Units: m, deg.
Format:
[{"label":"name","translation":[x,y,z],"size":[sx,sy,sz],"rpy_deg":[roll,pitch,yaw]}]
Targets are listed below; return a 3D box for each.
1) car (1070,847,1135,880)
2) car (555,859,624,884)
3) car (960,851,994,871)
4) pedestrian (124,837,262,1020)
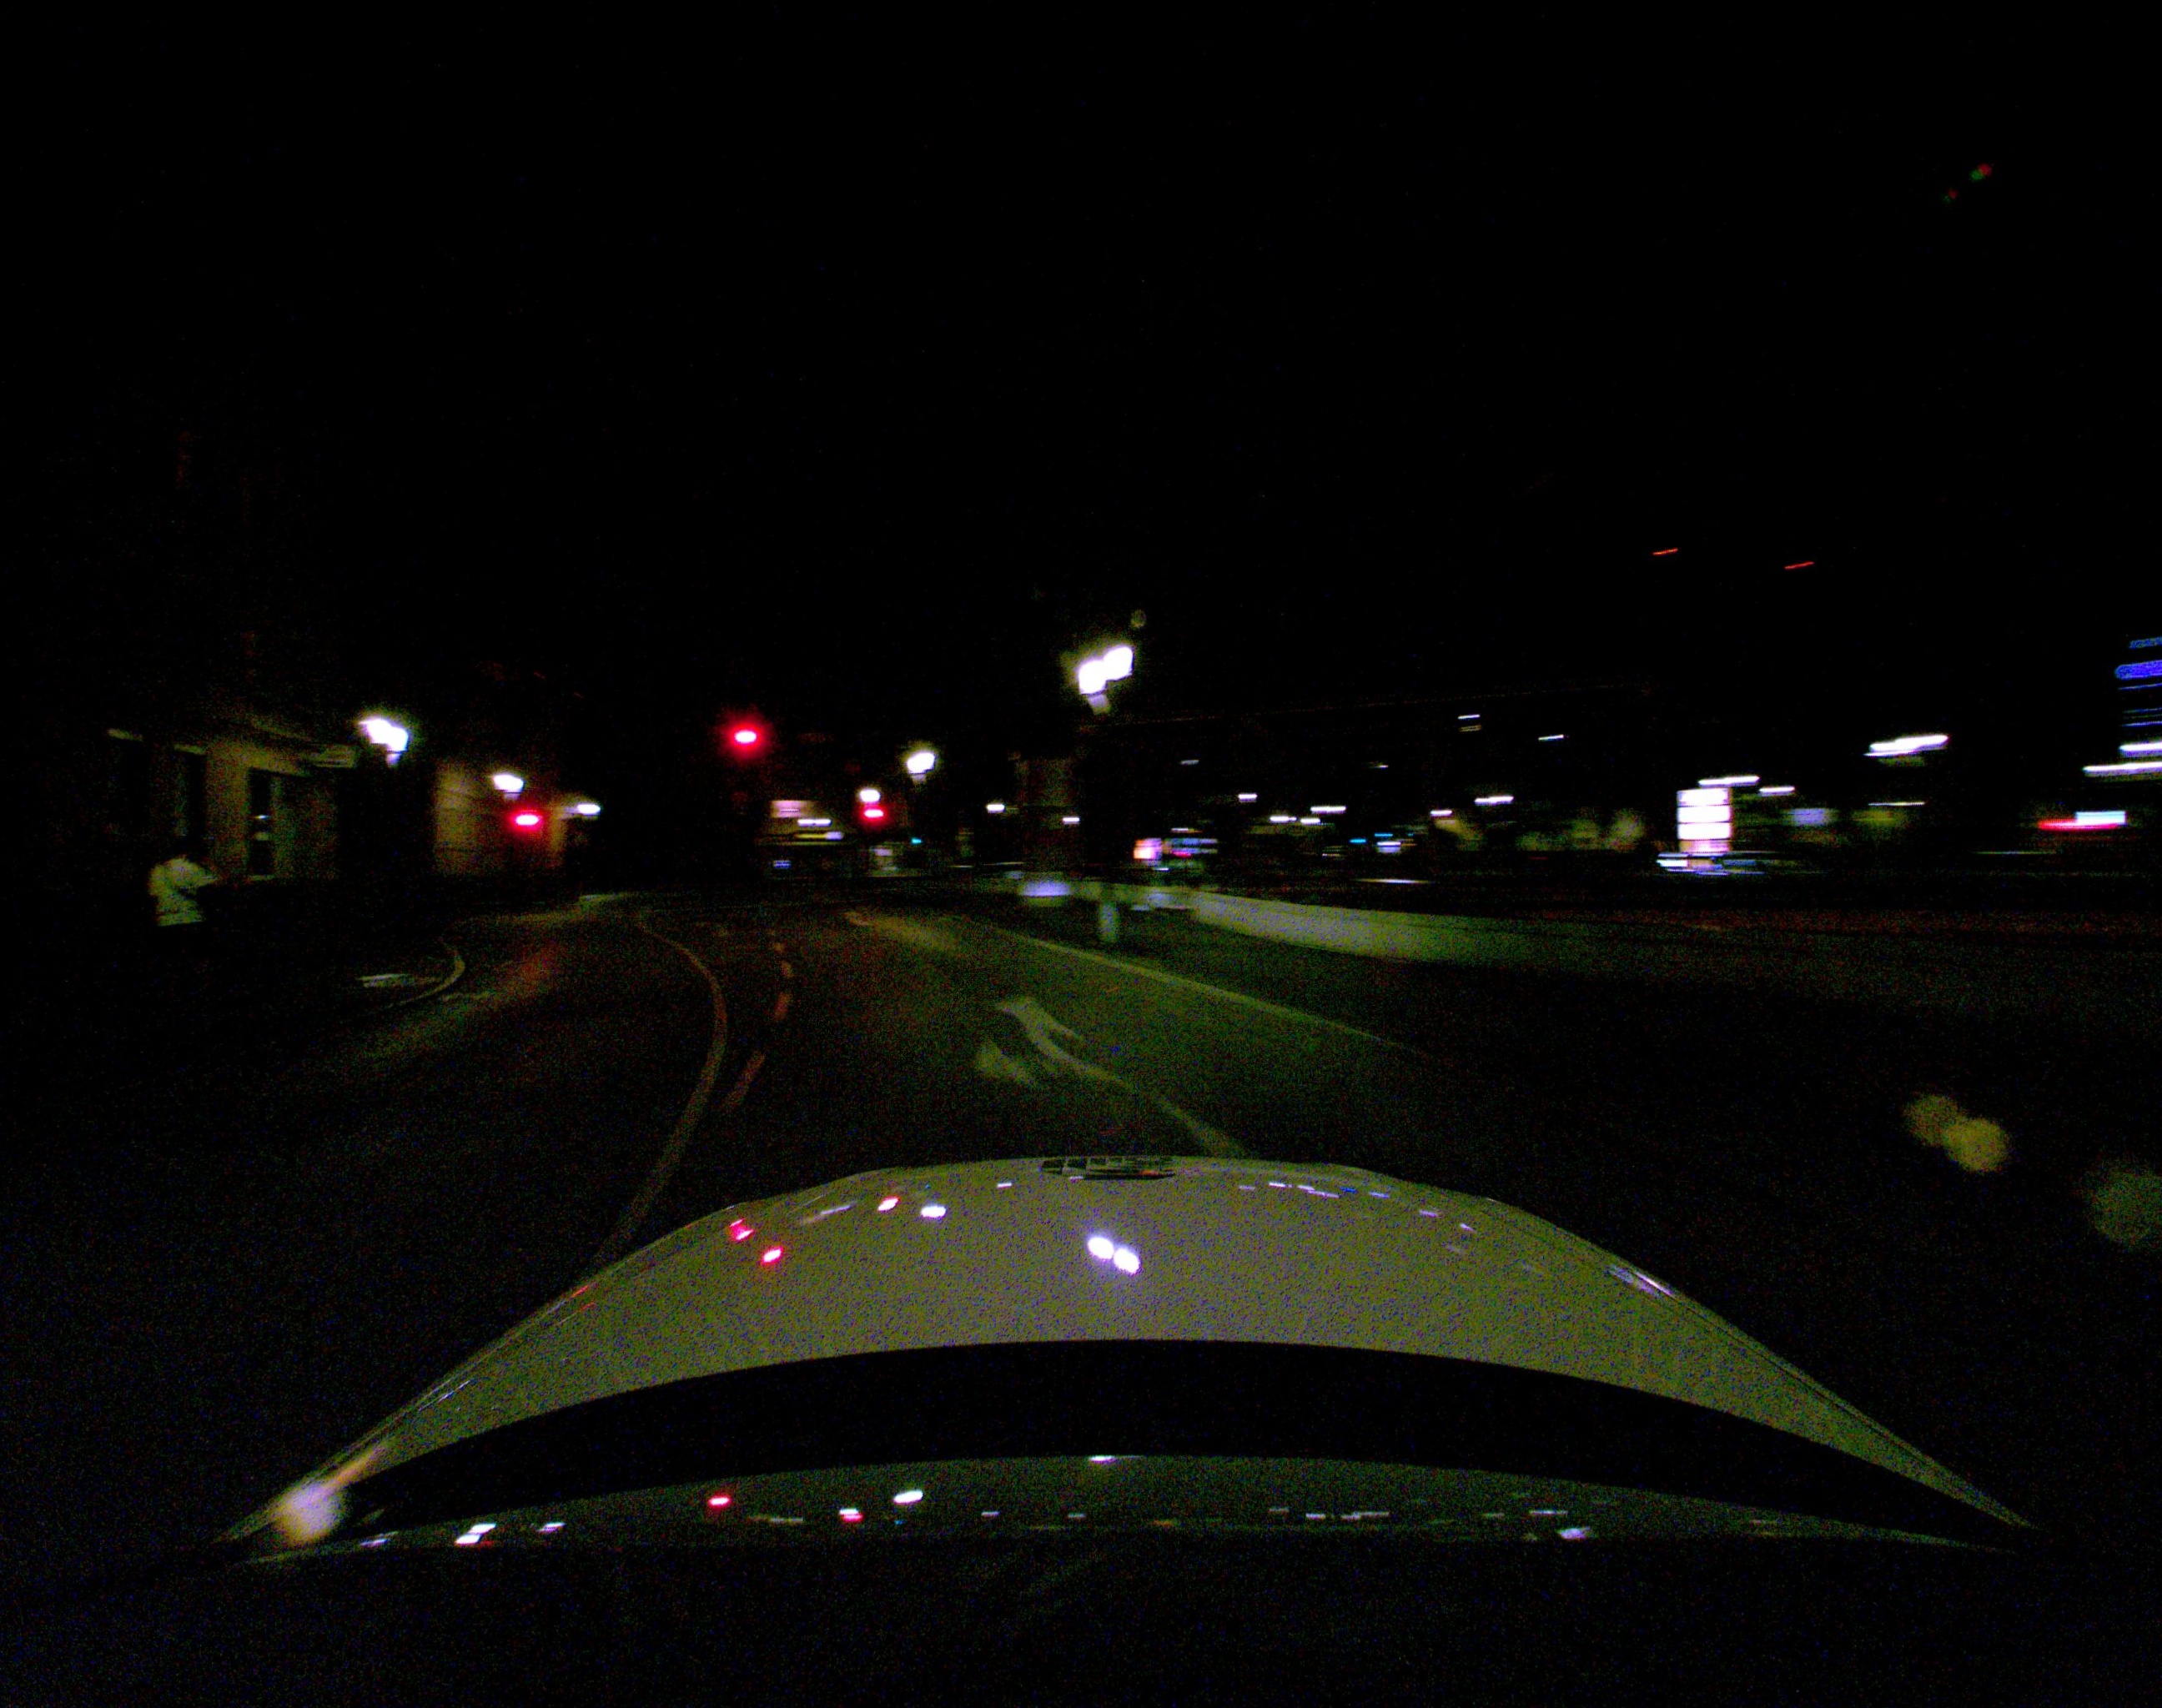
[{"label":"car","translation":[1.147,0.449,41.291],"size":[1.977,1.574,4.350],"rpy_deg":[-1,0,19]},{"label":"car","translation":[-36.139,1.269,59.913],"size":[4.278,1.574,2.010],"rpy_deg":[-3,-1,20]},{"label":"car","translation":[-8.678,0.587,67.724],"size":[2.000,1.574,3.630],"rpy_deg":[-1,0,-20]},{"label":"pedestrian","translation":[-9.335,0.750,8.597],"size":[0.726,1.822,0.687],"rpy_deg":[1,-1,-23]}]
